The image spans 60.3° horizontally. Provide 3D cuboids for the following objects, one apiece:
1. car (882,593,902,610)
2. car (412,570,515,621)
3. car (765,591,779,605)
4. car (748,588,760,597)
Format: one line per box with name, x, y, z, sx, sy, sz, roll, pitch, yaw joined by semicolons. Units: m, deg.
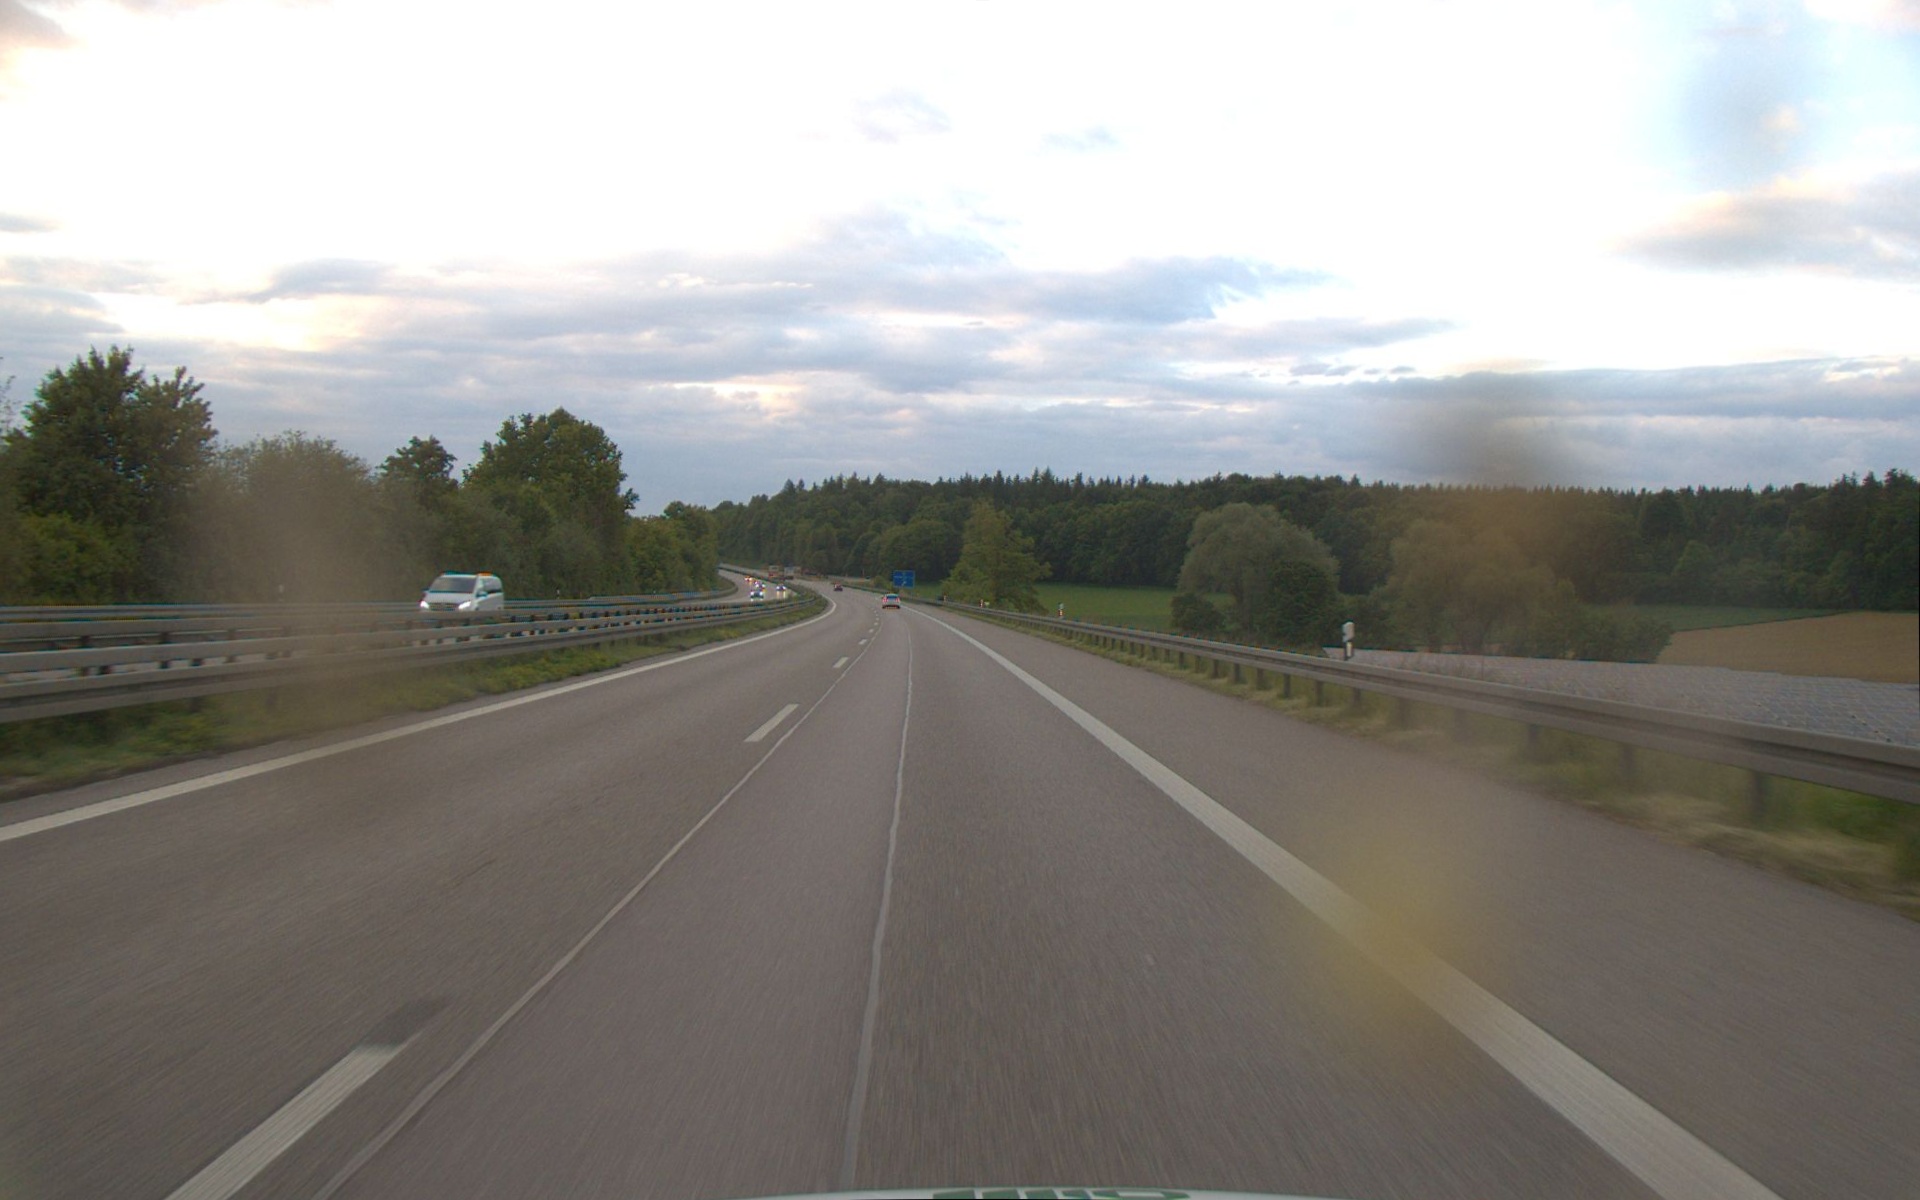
car;-6.914;0.134;168.668;1.912;1.558;4.079;3;1;-2
car;-17.817;-0.198;59.662;1.953;1.655;5.735;3;1;-1
car;-13.799;-0.141;121.473;0.824;0.956;1.763;3;1;-2
car;-29.746;-1.080;238.808;1.356;1.296;2.748;3;1;-2
